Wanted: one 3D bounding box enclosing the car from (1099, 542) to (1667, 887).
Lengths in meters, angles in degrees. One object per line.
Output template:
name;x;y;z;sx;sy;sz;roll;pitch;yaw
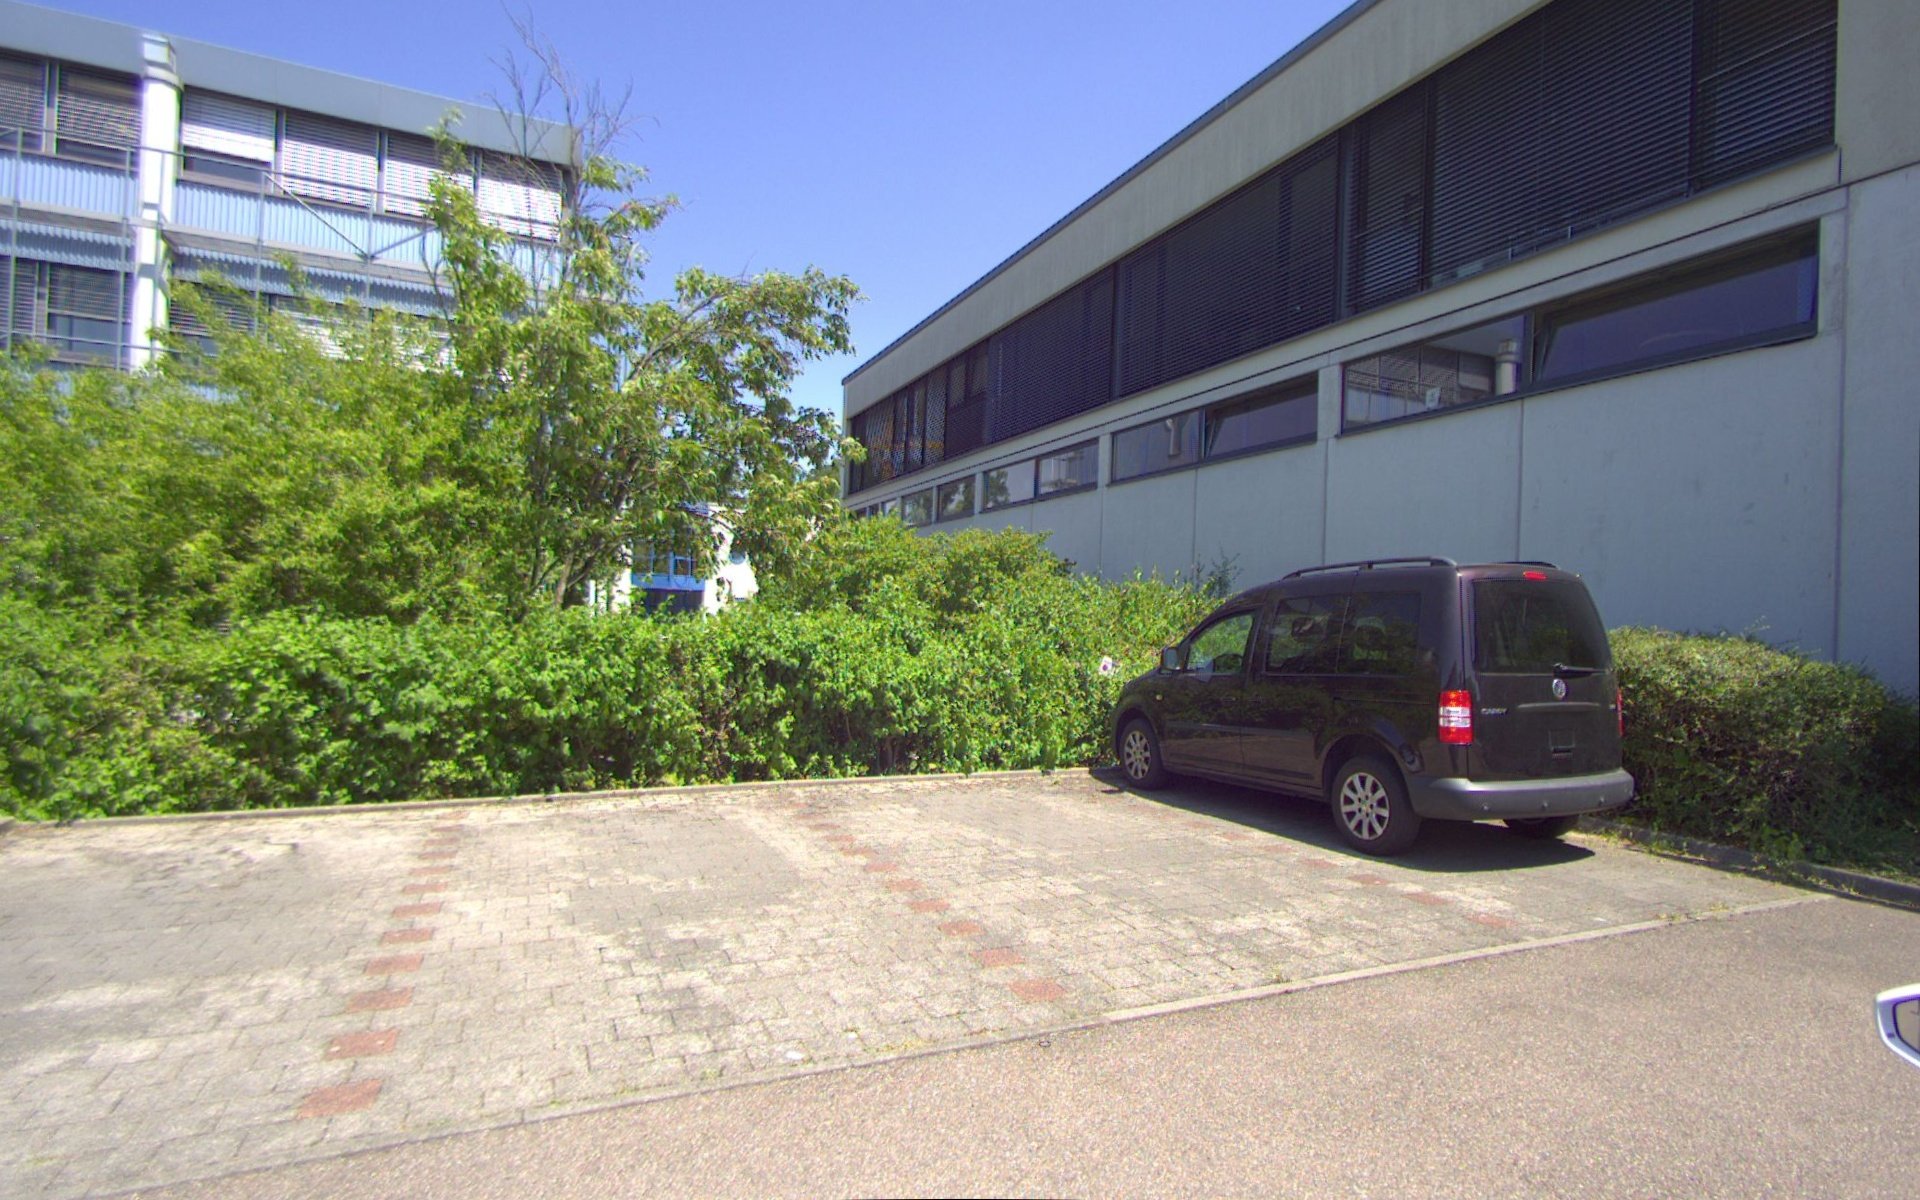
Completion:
car;2.840;0.667;7.771;1.655;1.909;4.049;2;-1;-23
